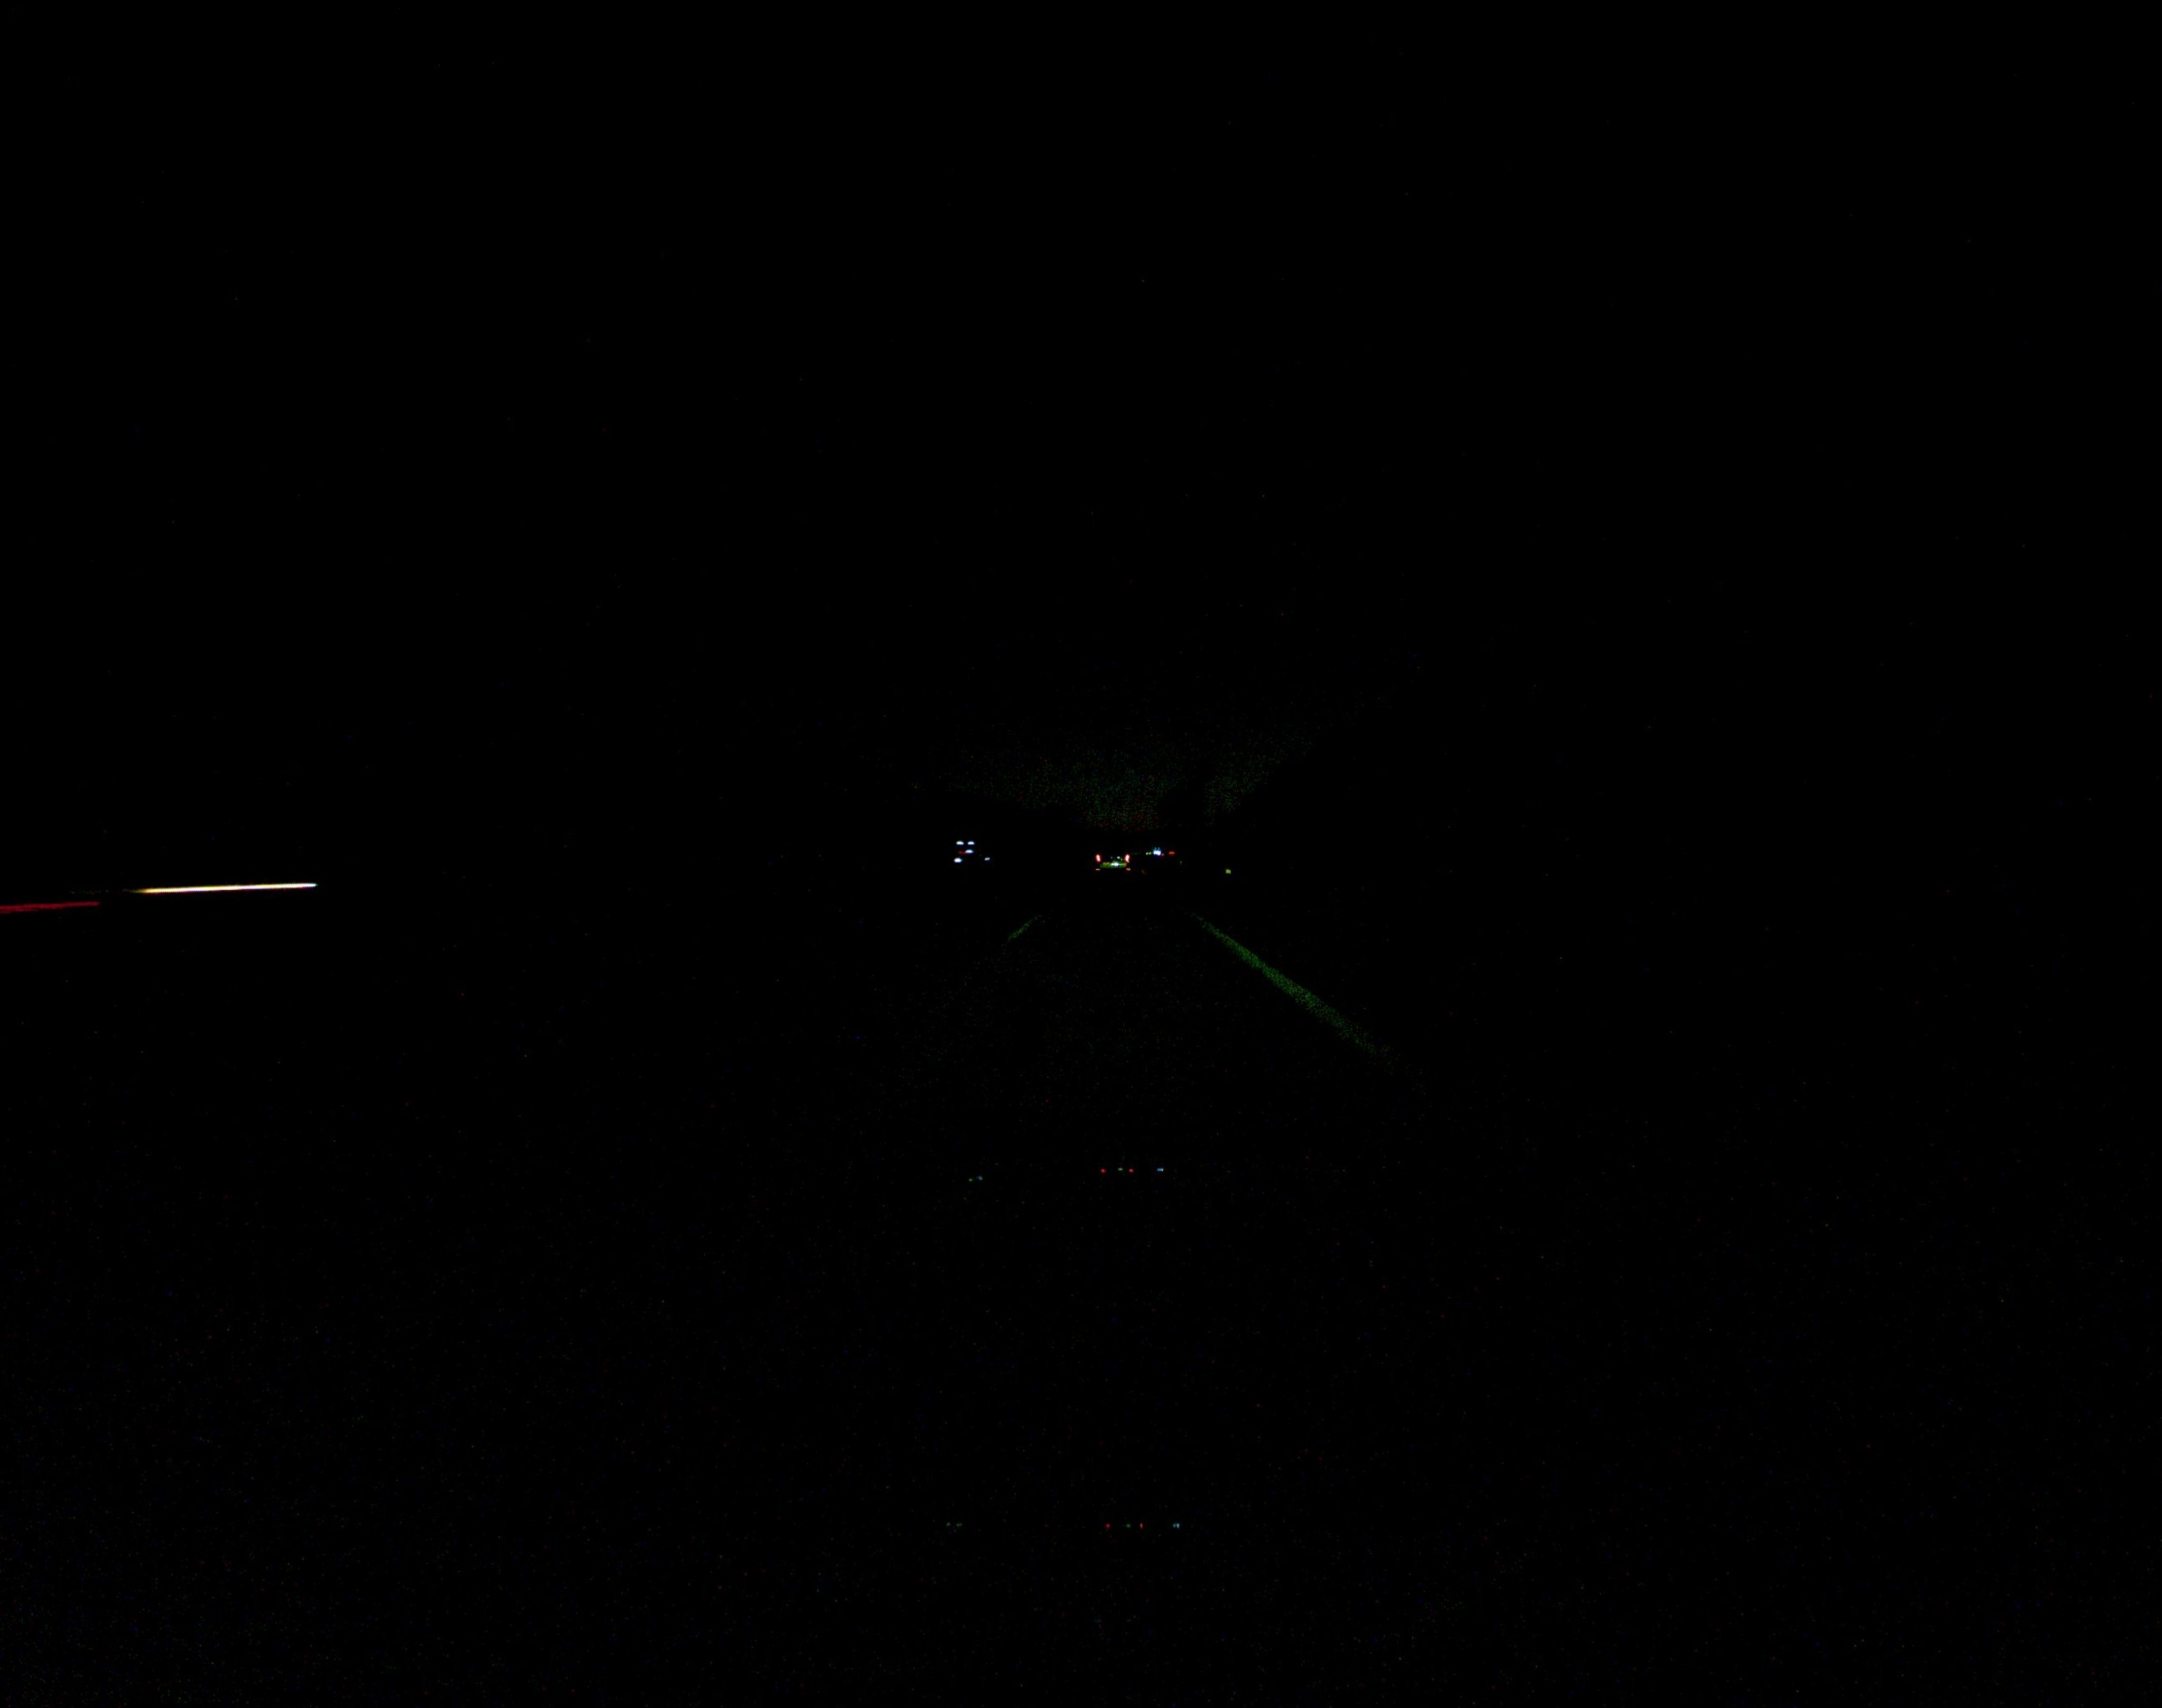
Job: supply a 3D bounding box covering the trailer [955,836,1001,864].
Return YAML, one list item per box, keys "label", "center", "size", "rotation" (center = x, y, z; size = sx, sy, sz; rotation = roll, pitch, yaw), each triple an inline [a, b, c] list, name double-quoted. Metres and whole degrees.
- label: "trailer"
  center: [-15.367, -0.497, 123.063]
  size: [3.527, 4.000, 17.300]
  rotation: [-1, 0, 4]

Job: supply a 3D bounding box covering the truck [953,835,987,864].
- label: "truck"
  center: [-15.801, -0.553, 116.382]
  size: [3.486, 3.970, 6.707]
  rotation: [-1, -1, 4]

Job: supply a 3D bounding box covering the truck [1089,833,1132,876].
- label: "truck"
  center: [2.082, 0.074, 54.364]
  size: [2.619, 2.624, 8.692]
  rotation: [-1, -1, 3]

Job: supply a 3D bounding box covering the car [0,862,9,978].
- label: "car"
  center: [-15.021, 0.855, 8.518]
  size: [1.896, 1.505, 4.275]
  rotation: [-1, -1, 1]

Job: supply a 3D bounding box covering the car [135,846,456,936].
- label: "car"
  center: [-18.235, 0.774, 19.476]
  size: [1.986, 1.821, 5.690]
  rotation: [-1, -1, 2]
